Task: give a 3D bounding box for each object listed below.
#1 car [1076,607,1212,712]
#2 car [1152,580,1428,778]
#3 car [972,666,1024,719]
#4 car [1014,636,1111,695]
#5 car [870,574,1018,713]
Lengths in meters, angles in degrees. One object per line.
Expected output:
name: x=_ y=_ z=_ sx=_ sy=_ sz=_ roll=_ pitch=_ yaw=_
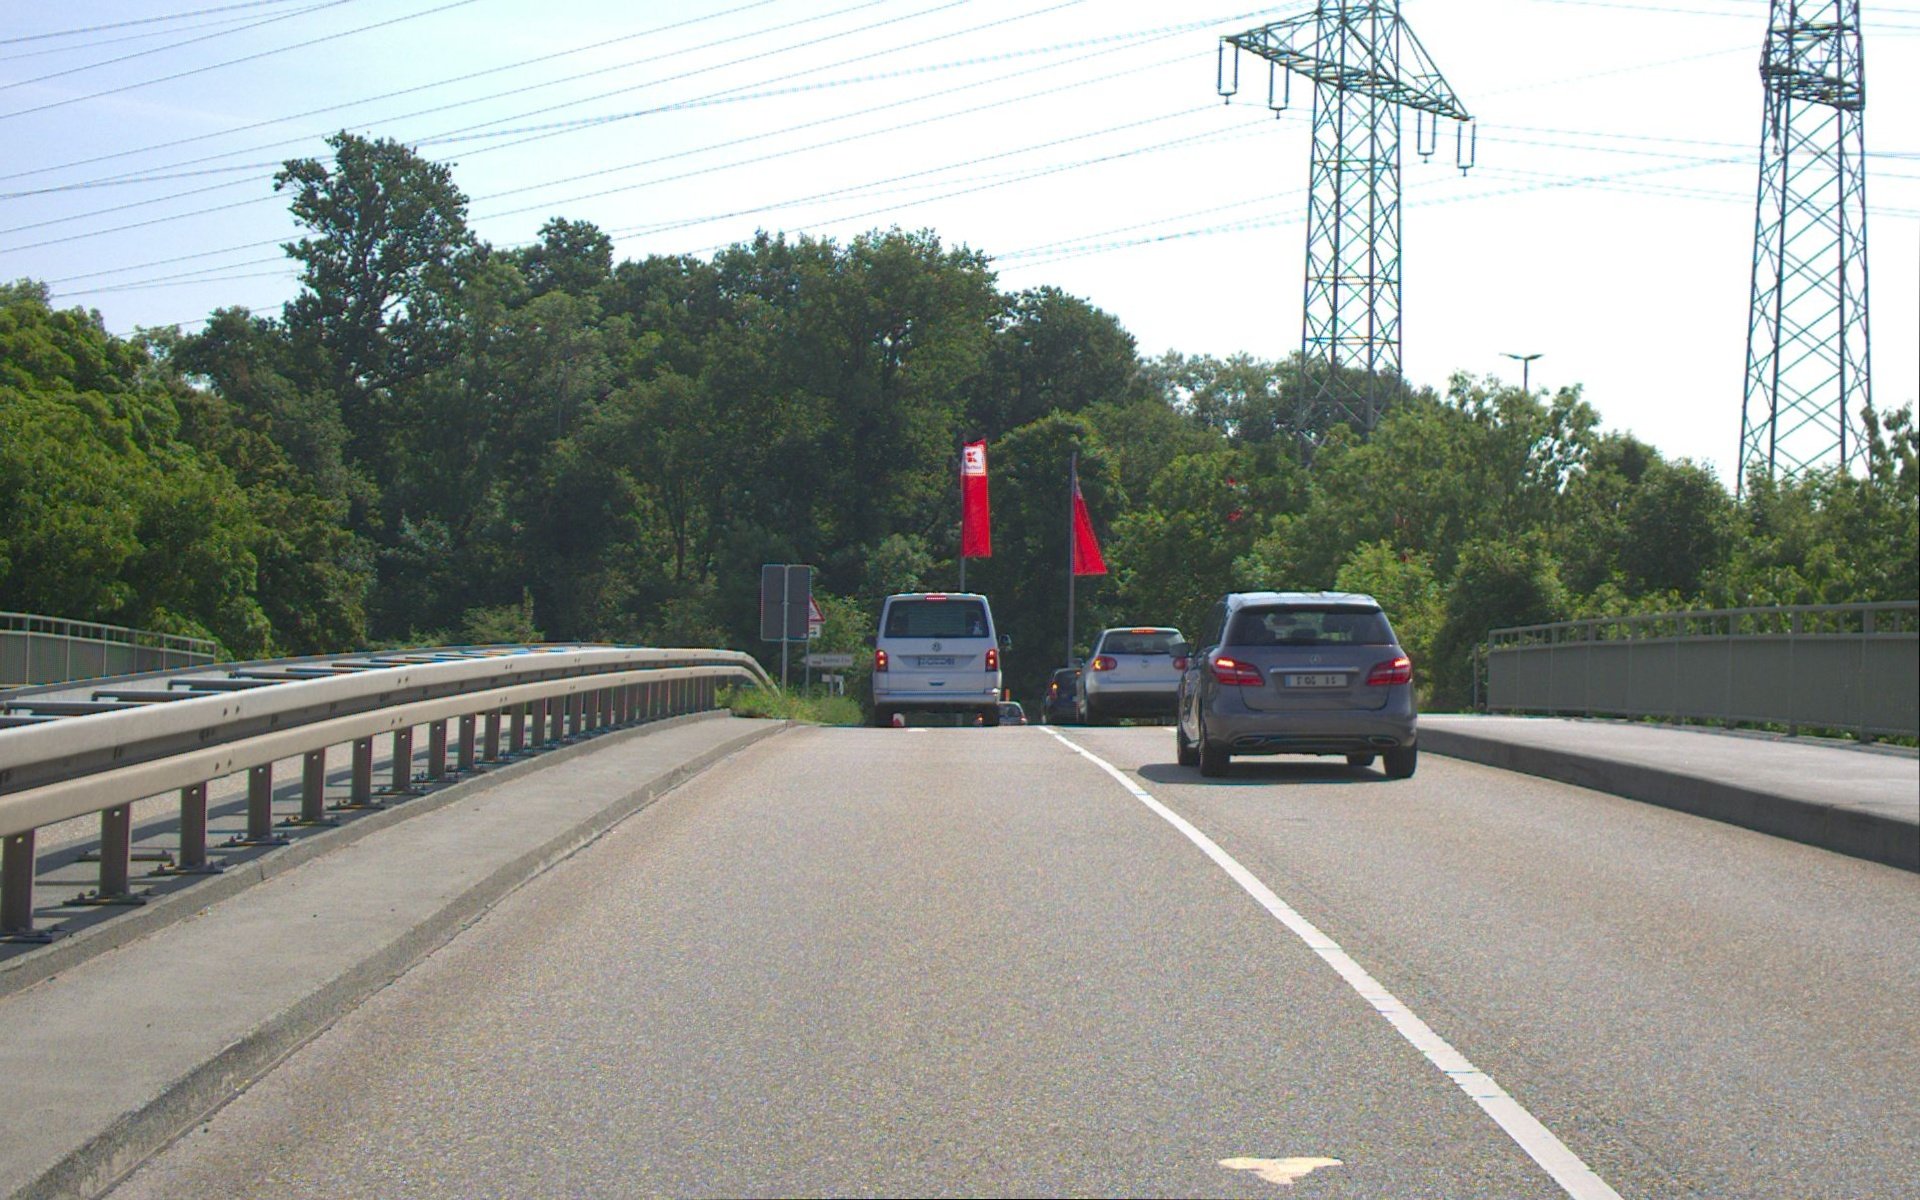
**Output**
car: x=2.734 y=0.927 z=51.900 sx=1.856 sy=1.524 sz=4.143 roll=0 pitch=-2 yaw=1
car: x=2.760 y=0.619 z=29.615 sx=1.856 sy=1.524 sz=4.144 roll=0 pitch=1 yaw=-2
car: x=1.174 y=2.877 z=107.325 sx=1.549 sy=1.548 sz=3.555 roll=1 pitch=0 yaw=0
car: x=2.399 y=1.531 z=79.823 sx=1.774 sy=1.327 sz=3.739 roll=0 pitch=-1 yaw=9
car: x=-0.202 y=0.629 z=51.521 sx=2.039 sy=2.007 sz=4.000 roll=0 pitch=0 yaw=2
